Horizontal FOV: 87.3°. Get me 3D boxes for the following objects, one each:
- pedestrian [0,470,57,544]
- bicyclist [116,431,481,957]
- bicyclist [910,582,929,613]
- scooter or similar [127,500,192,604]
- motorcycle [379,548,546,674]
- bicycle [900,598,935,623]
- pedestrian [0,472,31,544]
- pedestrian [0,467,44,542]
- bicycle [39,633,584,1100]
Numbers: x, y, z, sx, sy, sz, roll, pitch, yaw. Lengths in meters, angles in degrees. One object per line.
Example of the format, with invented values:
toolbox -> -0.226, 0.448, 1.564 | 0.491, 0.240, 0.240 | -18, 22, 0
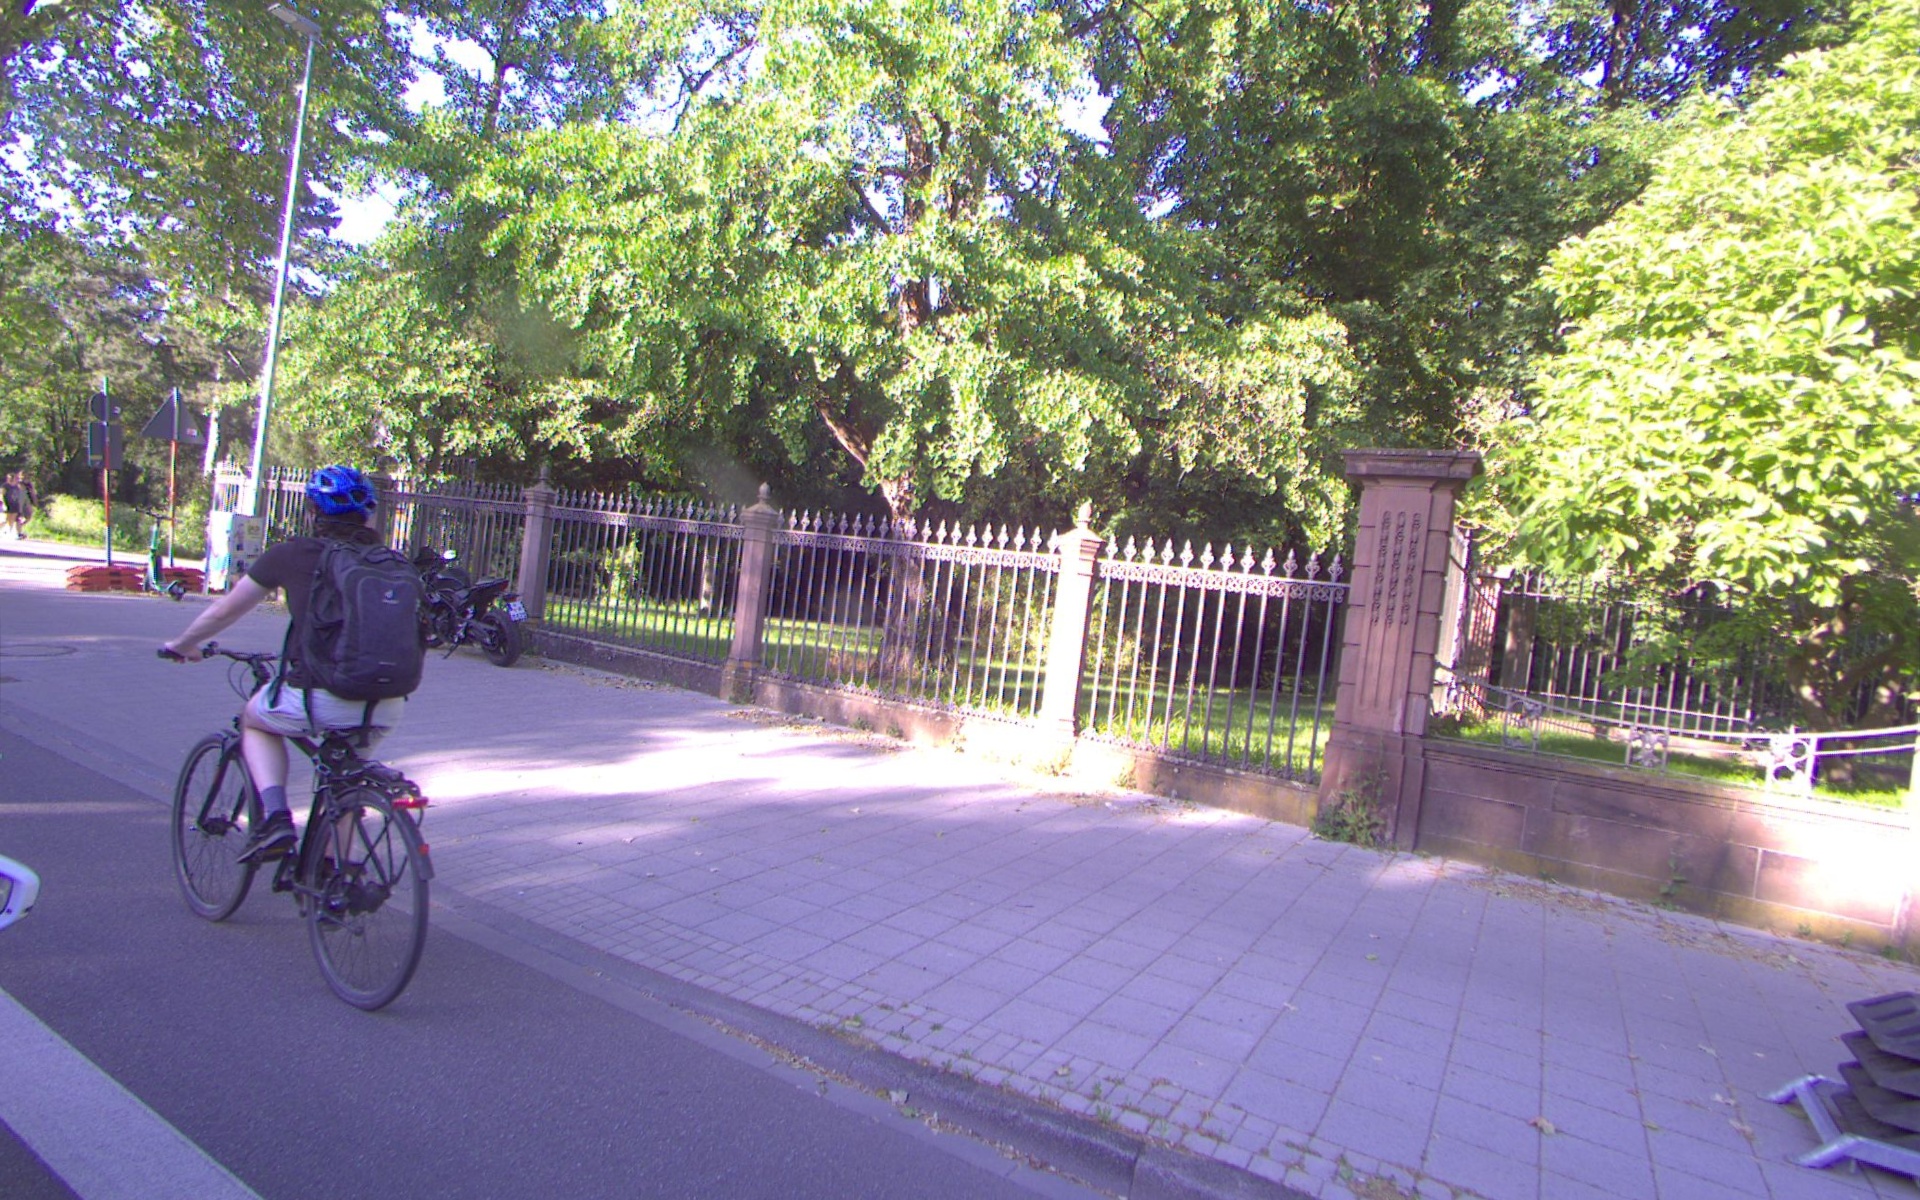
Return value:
pedestrian -> -24.645, -2.436, 26.570 | 0.817, 1.794, 0.819 | 7, 1, 25
bicyclist -> -2.330, 0.292, 3.574 | 0.709, 1.621, 0.666 | 7, -1, 30
bicyclist -> -1.994, -0.125, 49.718 | 0.770, 1.448, 0.665 | 7, 0, -5
scooter or similar -> -11.269, -0.686, 14.158 | 1.152, 1.344, 0.228 | 7, 2, 30
motorcycle -> -5.521, 0.096, 11.105 | 2.134, 1.146, 0.506 | 7, 2, 30
bicycle -> -2.098, 0.539, 49.703 | 1.593, 1.027, 0.475 | 7, 0, -5
pedestrian -> -24.043, -2.330, 25.318 | 0.632, 1.721, 0.690 | 7, 2, 25
pedestrian -> -24.291, -2.462, 25.990 | 0.635, 1.794, 0.617 | 7, 2, 25
bicycle -> -2.345, 0.772, 3.544 | 2.046, 1.021, 0.670 | 7, -1, 30
